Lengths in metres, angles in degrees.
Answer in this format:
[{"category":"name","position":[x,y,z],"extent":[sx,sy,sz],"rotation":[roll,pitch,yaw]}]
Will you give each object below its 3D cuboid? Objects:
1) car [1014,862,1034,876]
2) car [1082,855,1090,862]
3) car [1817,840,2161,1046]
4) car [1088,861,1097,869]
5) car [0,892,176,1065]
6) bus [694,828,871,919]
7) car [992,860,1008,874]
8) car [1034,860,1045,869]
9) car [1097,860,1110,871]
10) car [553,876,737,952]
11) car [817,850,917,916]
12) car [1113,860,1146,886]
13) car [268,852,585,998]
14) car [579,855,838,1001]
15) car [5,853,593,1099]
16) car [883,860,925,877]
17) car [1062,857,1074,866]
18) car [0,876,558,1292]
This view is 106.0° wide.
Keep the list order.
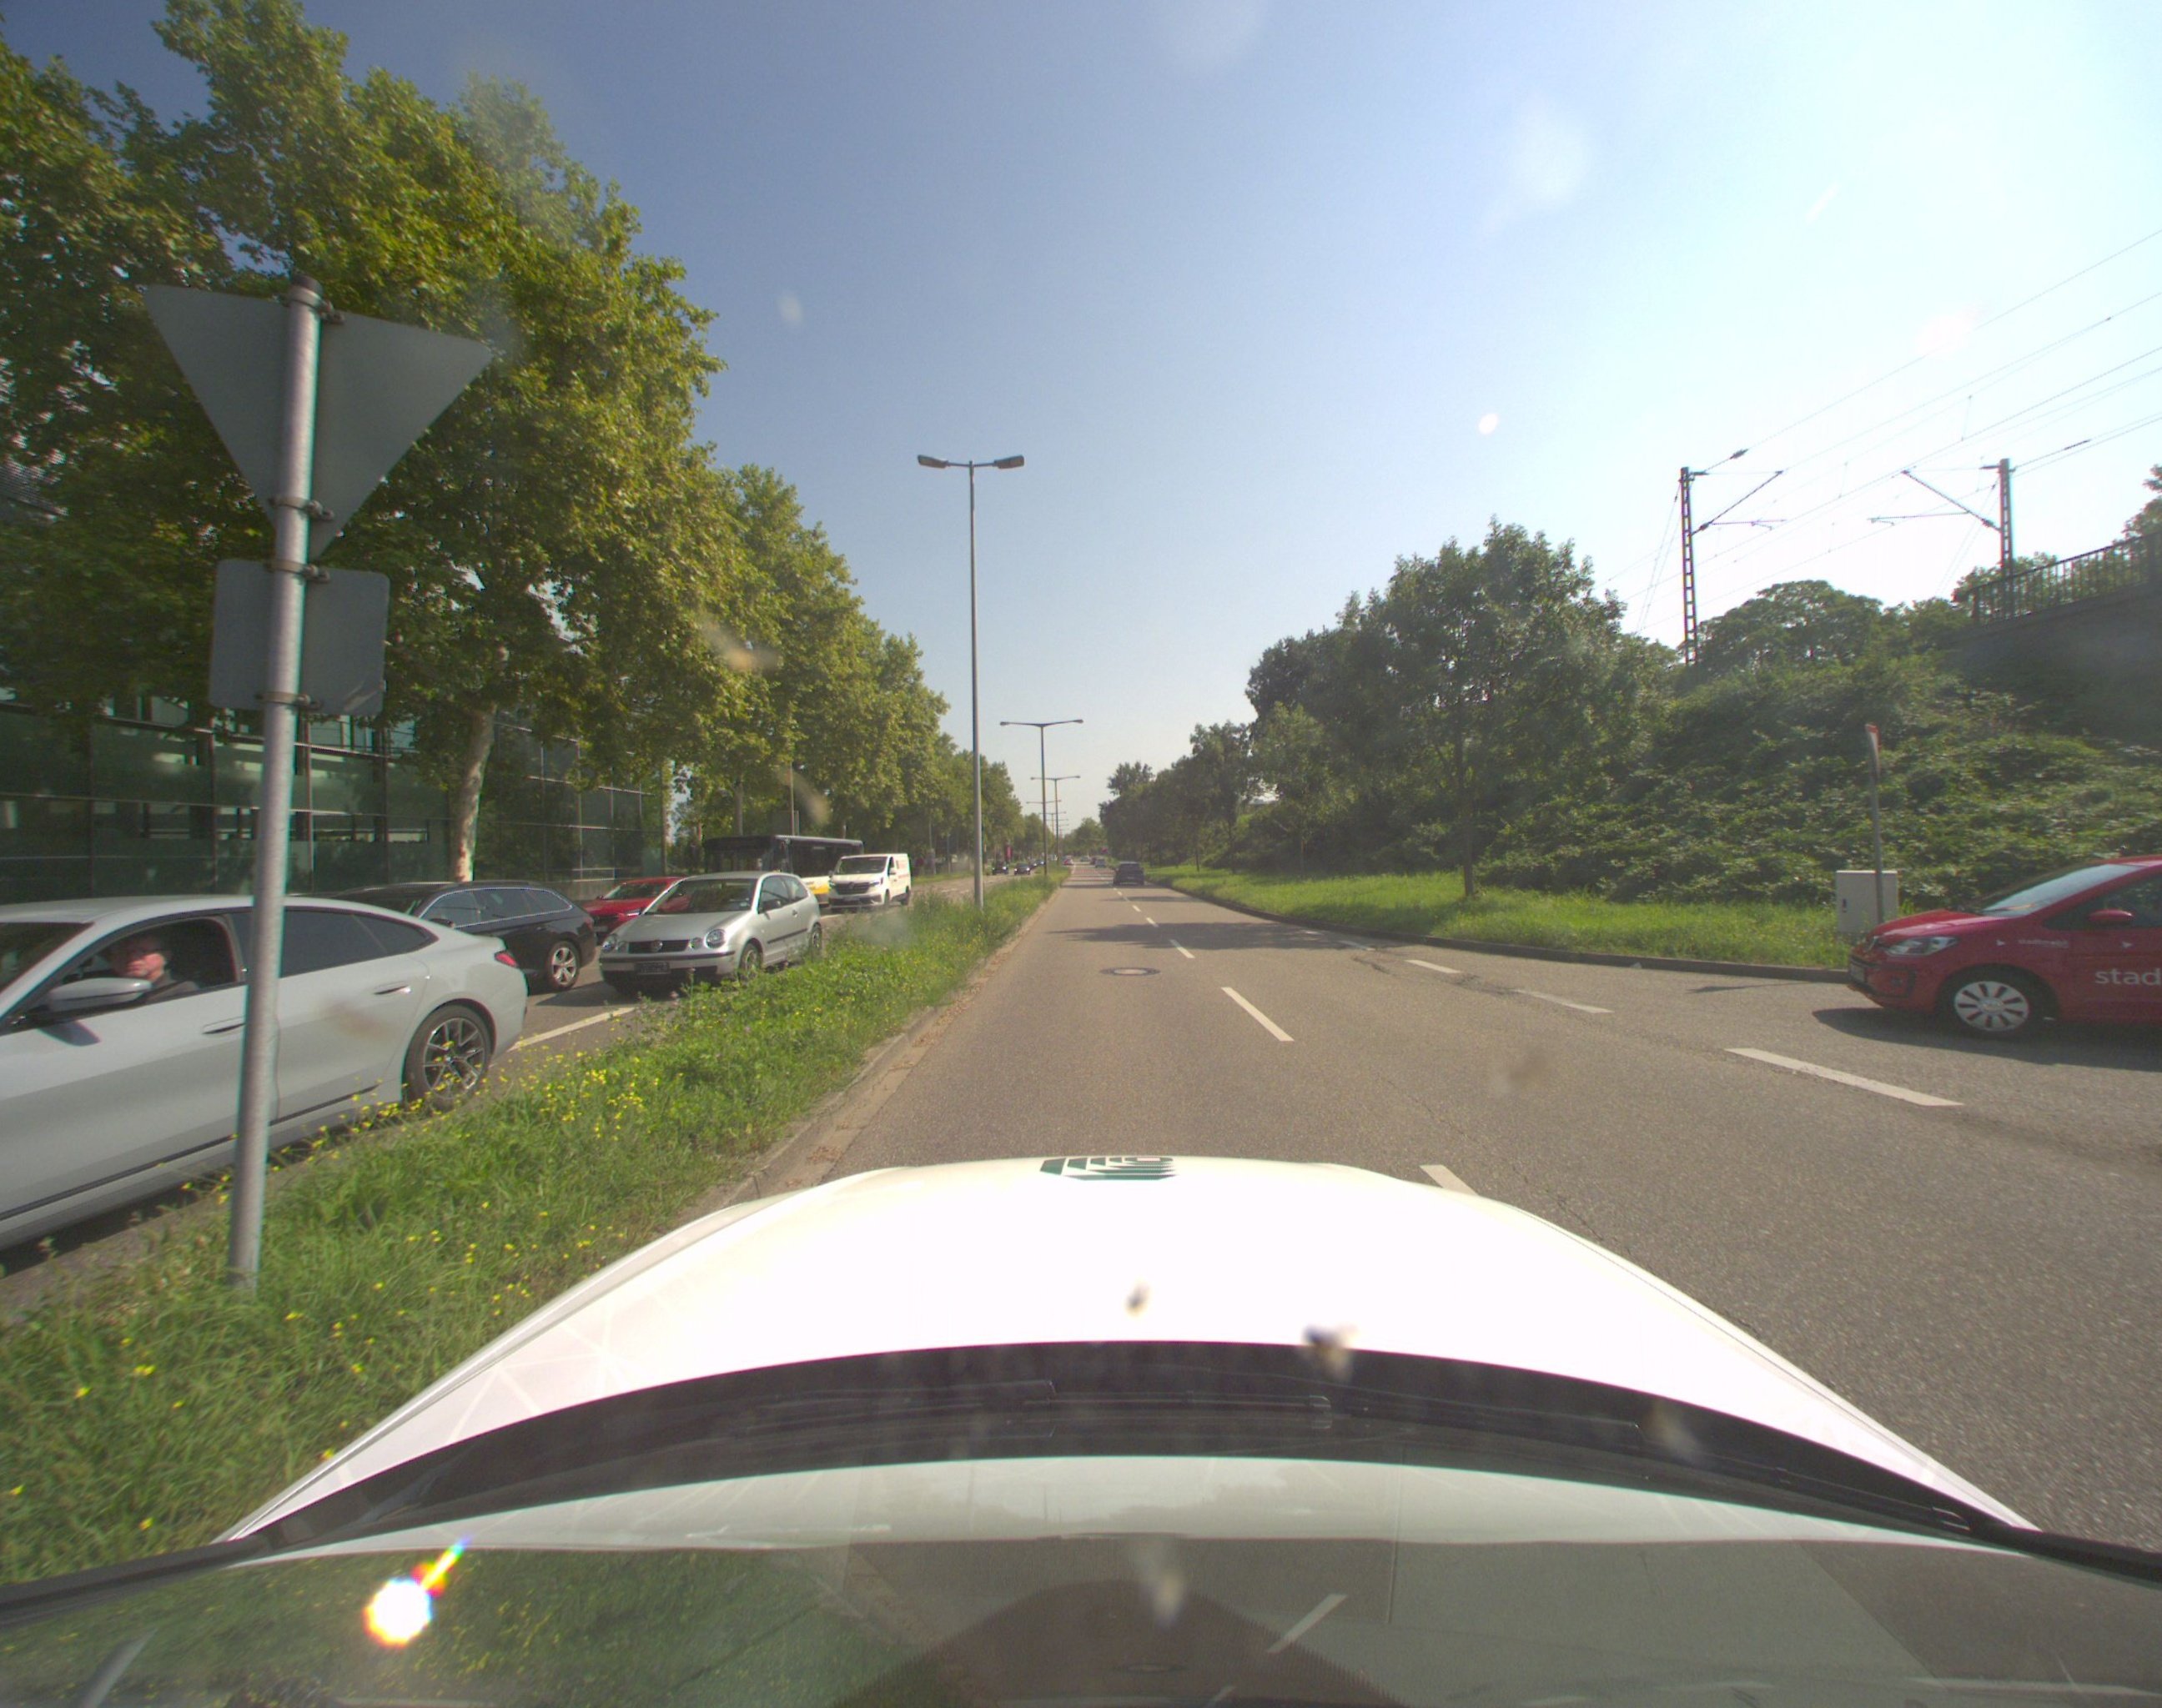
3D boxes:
[{"category":"car","position":[-6.499,1.682,93.131],"extent":[1.839,1.490,4.643],"rotation":[-3,-1,0]},{"category":"car","position":[1.349,1.235,214.874],"extent":[1.988,1.654,3.998],"rotation":[0,1,-1]},{"category":"car","position":[8.466,0.648,6.527],"extent":[3.507,1.467,1.654],"rotation":[-3,-1,32]},{"category":"car","position":[2.604,2.370,182.754],"extent":[1.988,1.654,3.998],"rotation":[0,1,-1]},{"category":"car","position":[-10.623,1.184,6.615],"extent":[1.774,1.511,4.256],"rotation":[-3,-1,-1]},{"category":"bus","position":[-10.787,0.709,31.054],"extent":[2.654,2.694,10.902],"rotation":[-3,-1,0]},{"category":"car","position":[-10.483,1.705,105.287],"extent":[1.842,1.605,4.603],"rotation":[-1,-2,-4]},{"category":"car","position":[-7.853,2.075,156.013],"extent":[1.988,1.585,4.342],"rotation":[-1,-1,-2]},{"category":"car","position":[3.834,1.967,139.953],"extent":[1.987,1.654,3.998],"rotation":[-2,-1,-1]},{"category":"car","position":[-10.655,1.390,20.470],"extent":[1.774,1.511,5.211],"rotation":[-3,-1,0]},{"category":"car","position":[-7.363,0.910,28.599],"extent":[1.920,1.960,5.191],"rotation":[-3,0,1]},{"category":"car","position":[2.984,1.147,50.822],"extent":[1.775,1.427,4.000],"rotation":[0,2,0]},{"category":"car","position":[-10.261,1.008,13.250],"extent":[1.922,1.896,3.973],"rotation":[-3,-1,-2]},{"category":"car","position":[-4.811,0.872,11.226],"extent":[1.609,1.535,4.100],"rotation":[-3,-1,0]},{"category":"car","position":[-7.608,0.999,8.802],"extent":[1.711,1.849,4.703],"rotation":[-3,-1,1]},{"category":"car","position":[-25.342,2.029,116.708],"extent":[5.569,2.337,2.277],"rotation":[0,2,-2]},{"category":"car","position":[-2.508,1.497,161.044],"extent":[1.985,1.702,4.004],"rotation":[-2,-1,4]},{"category":"car","position":[-4.843,0.915,3.788],"extent":[1.830,1.443,4.604],"rotation":[-3,-1,-1]}]
